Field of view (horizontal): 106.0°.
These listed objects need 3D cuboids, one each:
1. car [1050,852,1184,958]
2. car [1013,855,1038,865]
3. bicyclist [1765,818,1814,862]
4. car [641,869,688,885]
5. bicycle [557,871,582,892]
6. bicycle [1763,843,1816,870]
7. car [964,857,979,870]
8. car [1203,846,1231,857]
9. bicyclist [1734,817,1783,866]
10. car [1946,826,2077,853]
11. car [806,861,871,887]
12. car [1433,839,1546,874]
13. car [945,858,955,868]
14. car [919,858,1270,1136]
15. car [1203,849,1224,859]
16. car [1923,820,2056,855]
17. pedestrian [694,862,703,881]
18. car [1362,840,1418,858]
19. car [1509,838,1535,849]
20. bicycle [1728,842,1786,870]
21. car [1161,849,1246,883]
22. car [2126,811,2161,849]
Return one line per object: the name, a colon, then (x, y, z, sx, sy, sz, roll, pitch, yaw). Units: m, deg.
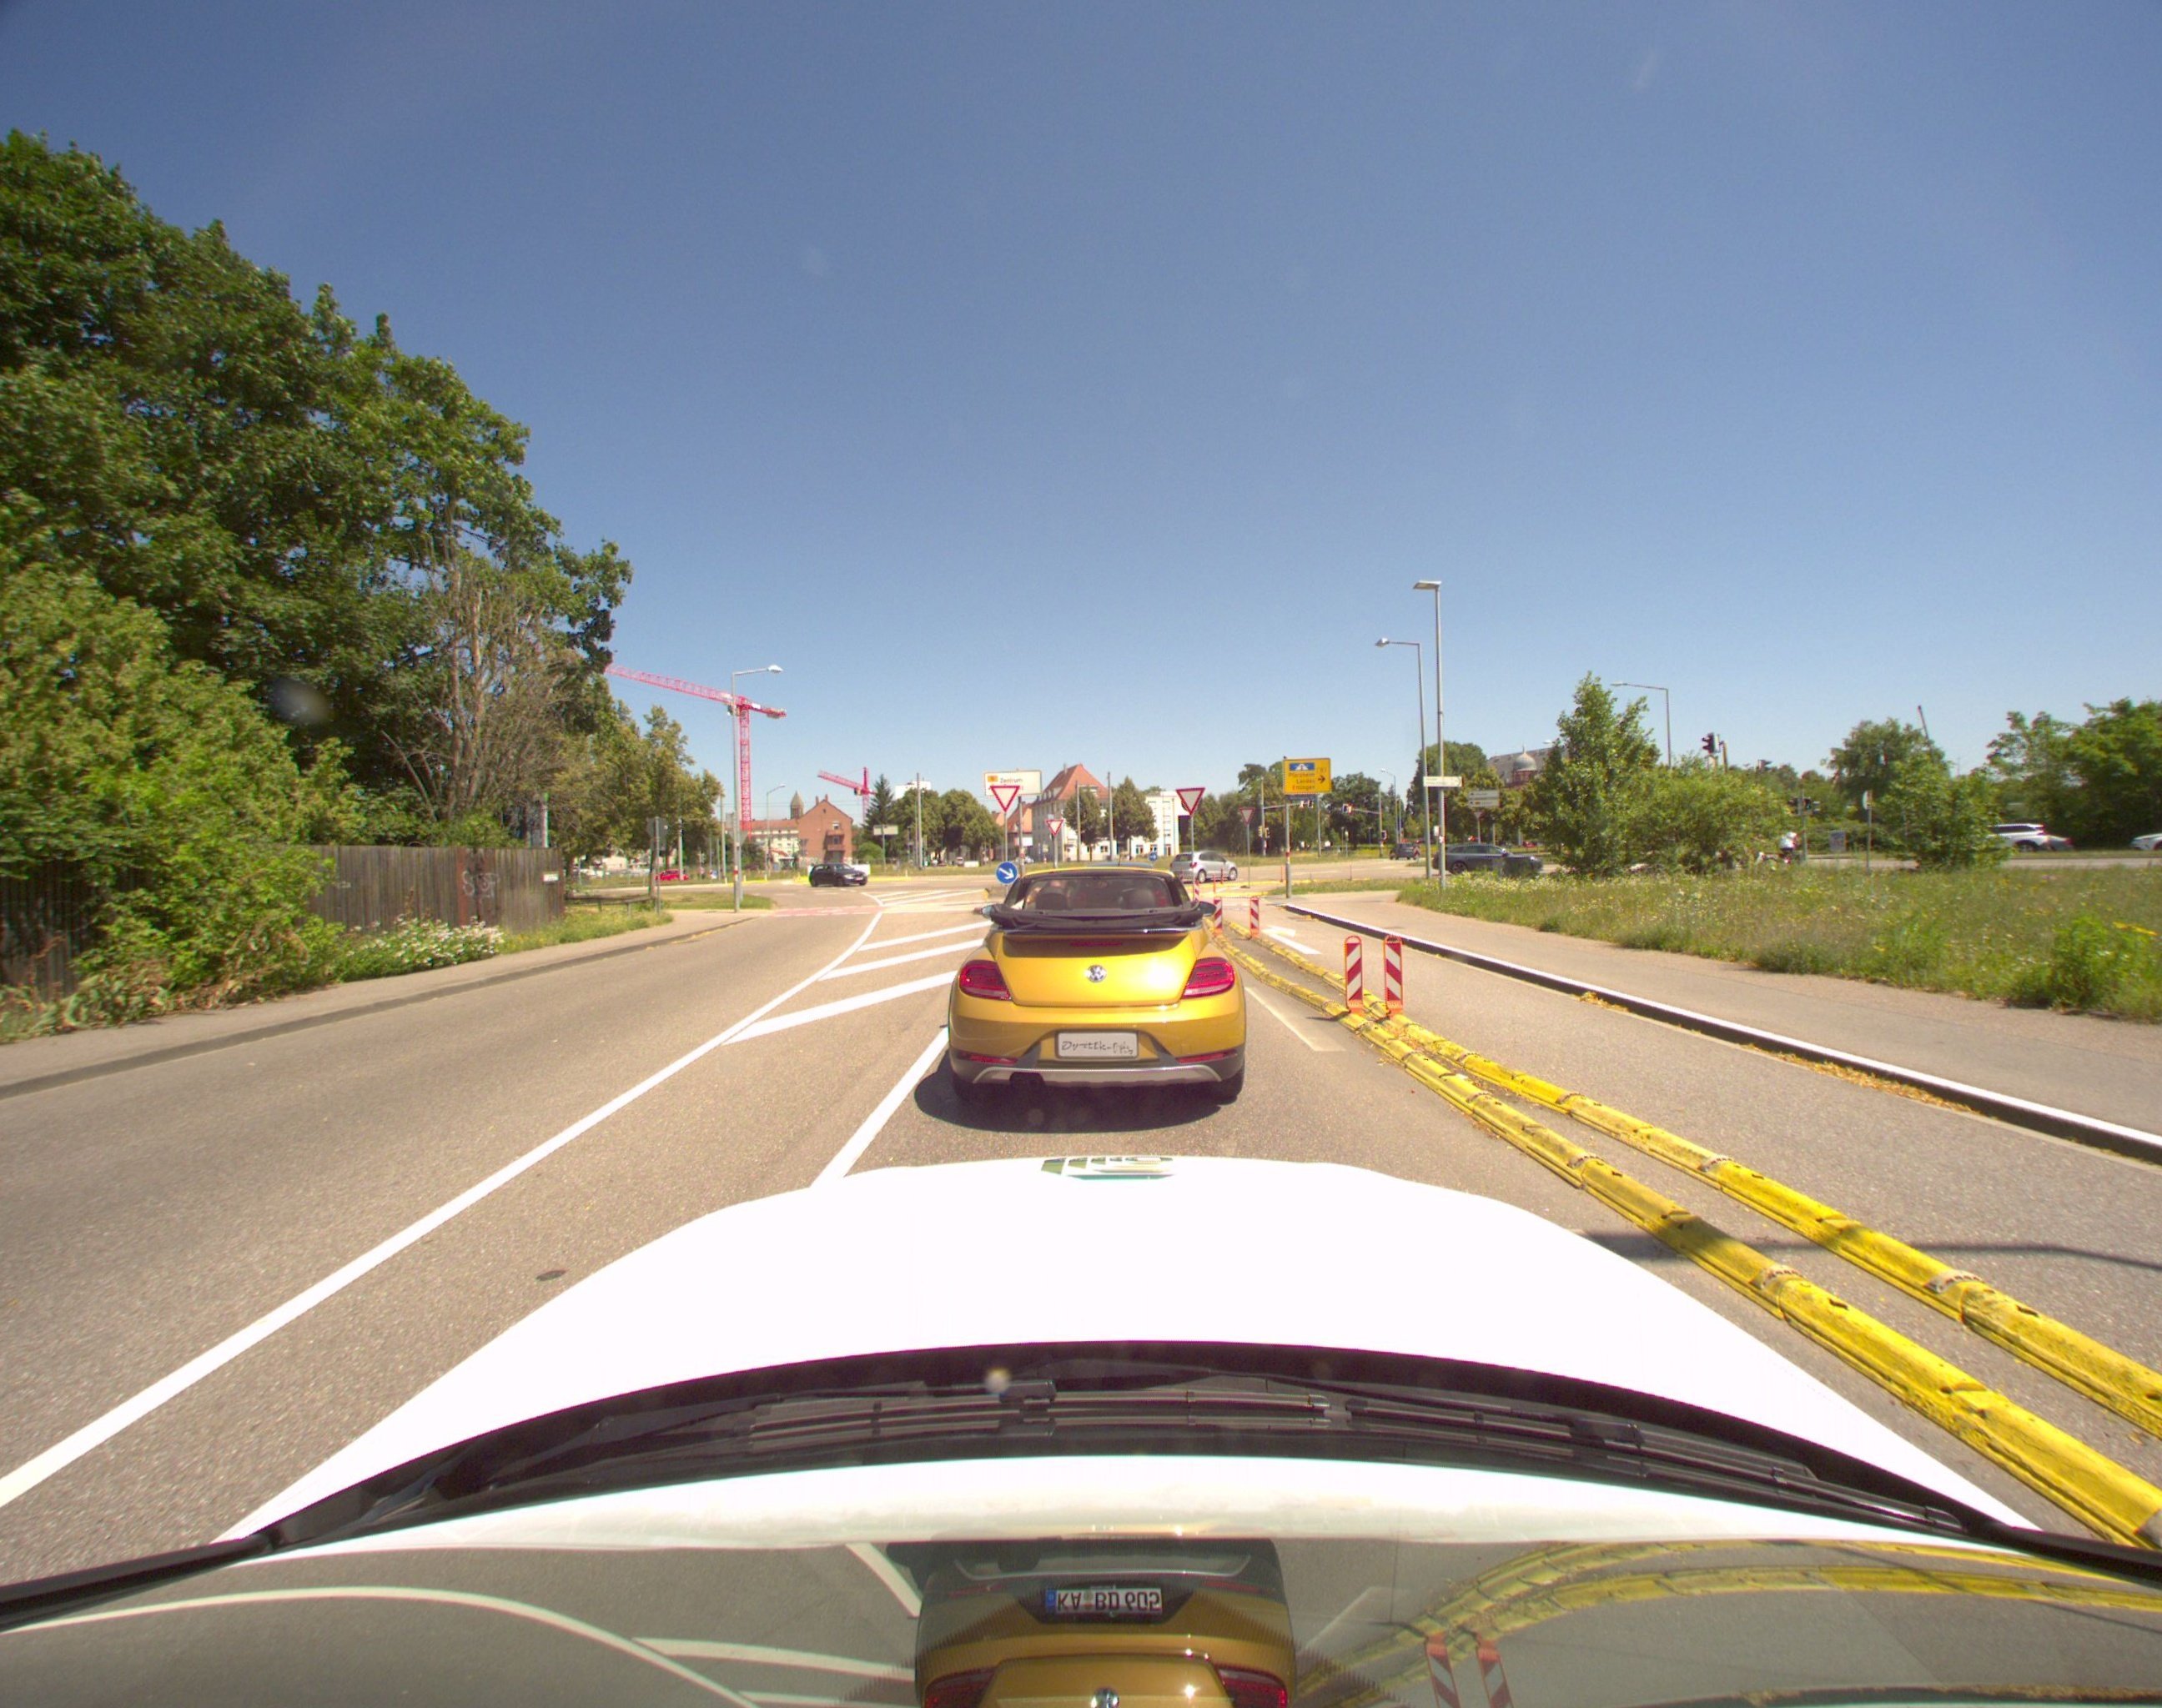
car: (0.450, 0.731, 13.841, 1.794, 1.440, 3.994, -2, 1, -4)
car: (-9.044, 1.031, 132.103, 3.977, 1.618, 1.998, 0, -1, -2)
bicyclist: (26.098, -0.511, 30.014, 1.189, 1.531, 0.951, -3, 1, -28)
car: (-42.737, 2.367, 83.617, 4.083, 1.403, 1.741, -2, 1, -22)
bicycle: (-42.325, 2.293, 67.407, 0.555, 1.684, 2.089, 0, -1, 5)
bicycle: (26.071, 0.074, 29.950, 1.766, 0.900, 0.891, -3, 2, -27)
car: (-17.034, 1.426, 126.747, 1.994, 2.014, 3.985, 0, -1, -11)
car: (21.999, -0.346, 131.545, 3.988, 1.684, 1.993, 0, -1, -11)
bicyclist: (22.815, -0.399, 27.424, 1.190, 1.610, 0.950, -1, -1, -33)
car: (48.894, -0.736, 42.949, 4.352, 1.270, 1.876, -2, 0, 44)
car: (-14.390, 1.210, 48.257, 4.028, 1.403, 1.764, -2, 1, 40)
car: (18.566, 0.093, 37.257, 4.404, 1.418, 2.010, -2, 0, 19)
car: (-26.919, 1.824, 167.113, 1.994, 2.014, 3.985, 0, -1, -11)
car: (0.127, 0.763, 6.104, 1.819, 1.403, 3.663, -1, 0, 2)
car: (27.404, -0.007, 168.541, 3.956, 2.014, 2.009, -1, -1, 16)
car: (45.987, -0.824, 41.398, 4.352, 1.618, 1.876, -2, 0, 44)
pedestrian: (-41.444, 1.883, 88.248, 0.599, 2.014, 0.595, 0, -1, 1)
car: (25.559, -0.385, 67.533, 2.006, 1.464, 3.962, 0, -1, -30)
car: (82.635, -2.005, 152.690, 3.949, 2.014, 2.012, -1, -1, 41)
bicycle: (22.769, 0.050, 27.420, 2.234, 0.900, 0.889, -1, 1, -33)
car: (5.777, 0.558, 38.230, 4.023, 1.422, 1.760, -2, 0, -43)
car: (51.138, -1.155, 36.917, 4.352, 1.683, 1.876, -2, 0, 44)
